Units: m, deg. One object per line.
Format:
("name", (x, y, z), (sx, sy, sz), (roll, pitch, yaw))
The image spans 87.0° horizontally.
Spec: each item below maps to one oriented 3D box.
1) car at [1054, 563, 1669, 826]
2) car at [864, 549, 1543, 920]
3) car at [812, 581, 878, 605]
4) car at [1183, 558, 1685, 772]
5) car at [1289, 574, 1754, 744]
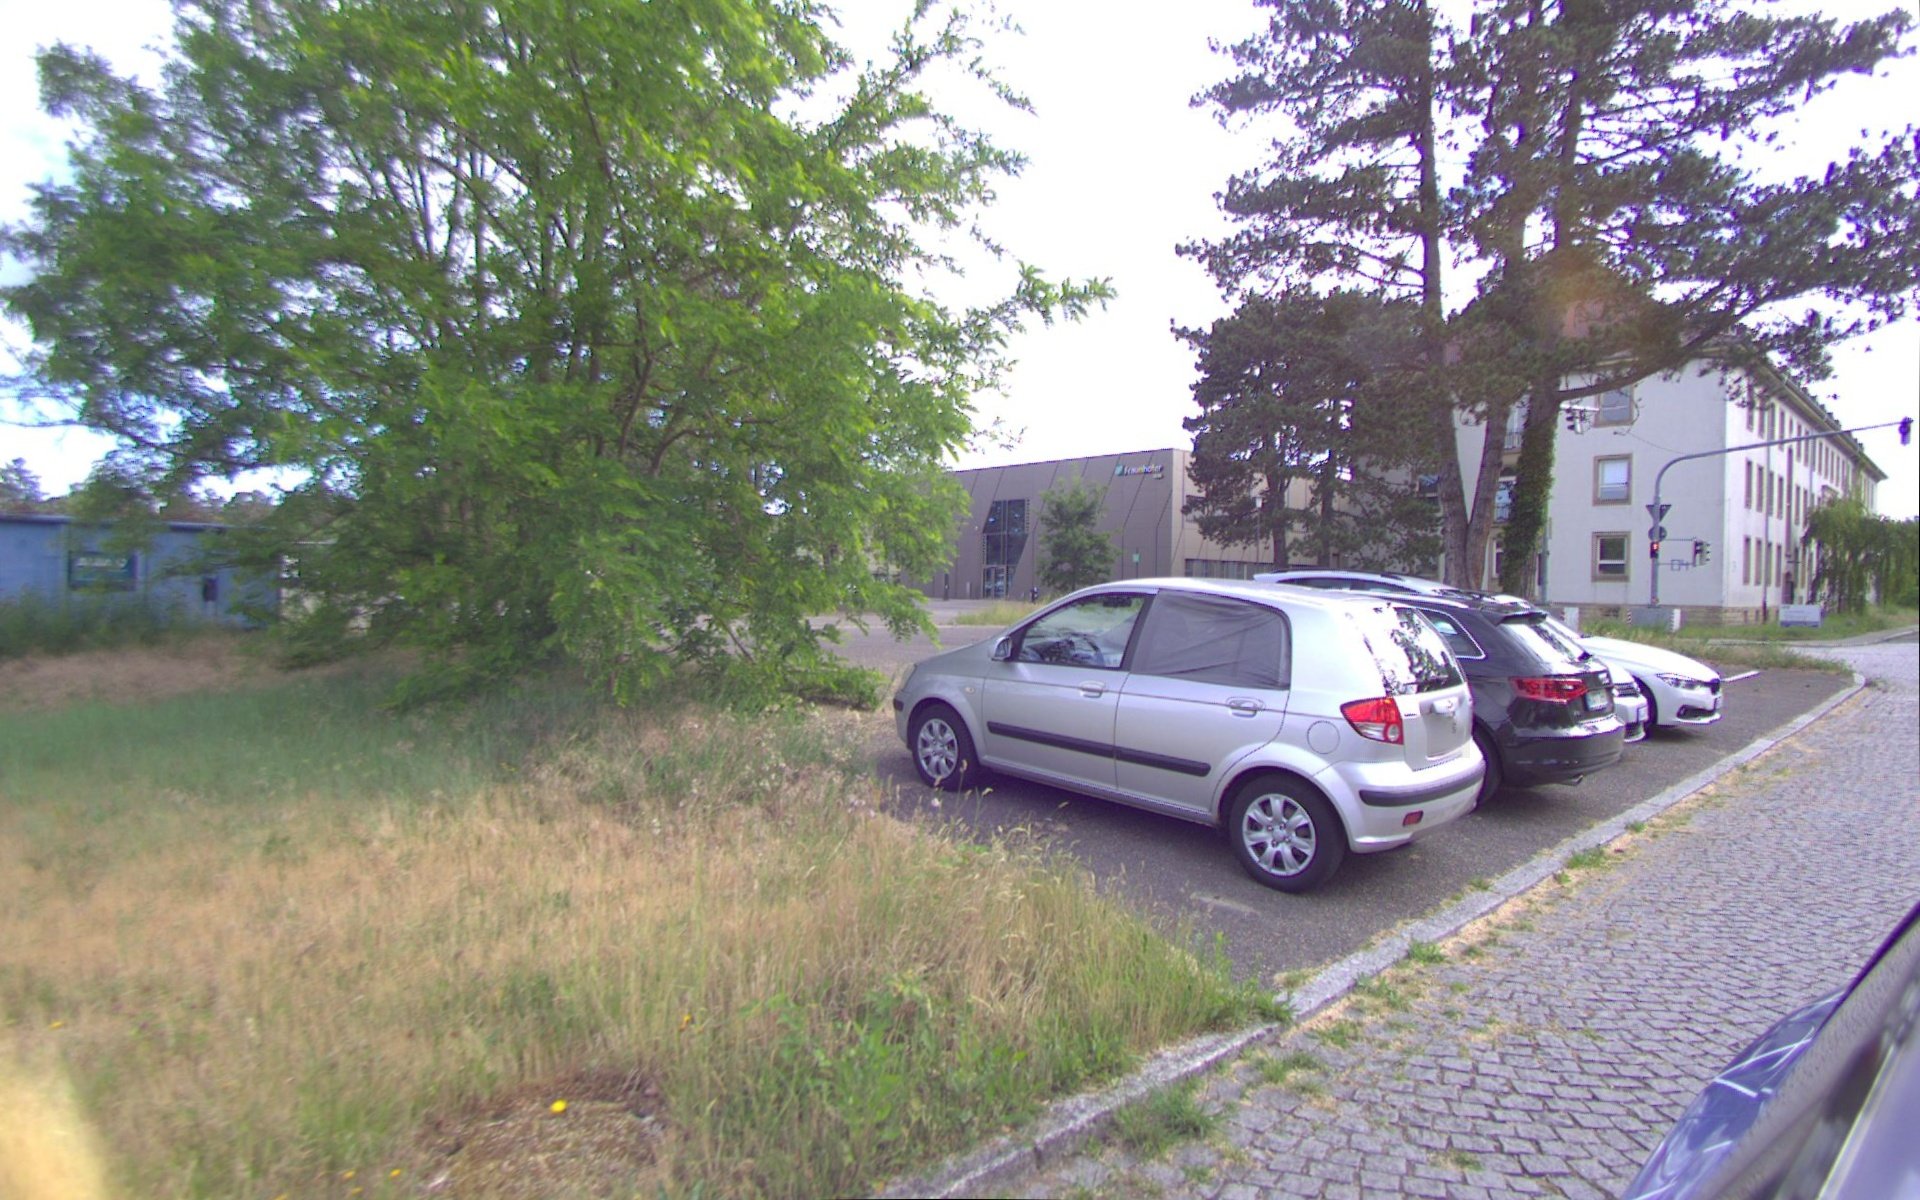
("car", (3.040, 0.542, 8.417), (1.766, 1.423, 4.372), (1, 3, -44))
("car", (1.290, 0.537, 6.392), (3.775, 1.498, 1.715), (6, 3, 45))
("car", (-7.932, -0.503, 69.962), (1.833, 1.481, 4.348), (2, 4, 44))
("car", (4.715, 0.464, 10.504), (4.330, 1.593, 1.799), (5, 4, 43))
("car", (6.562, 0.538, 12.237), (4.553, 1.442, 1.798), (6, 4, 45))
